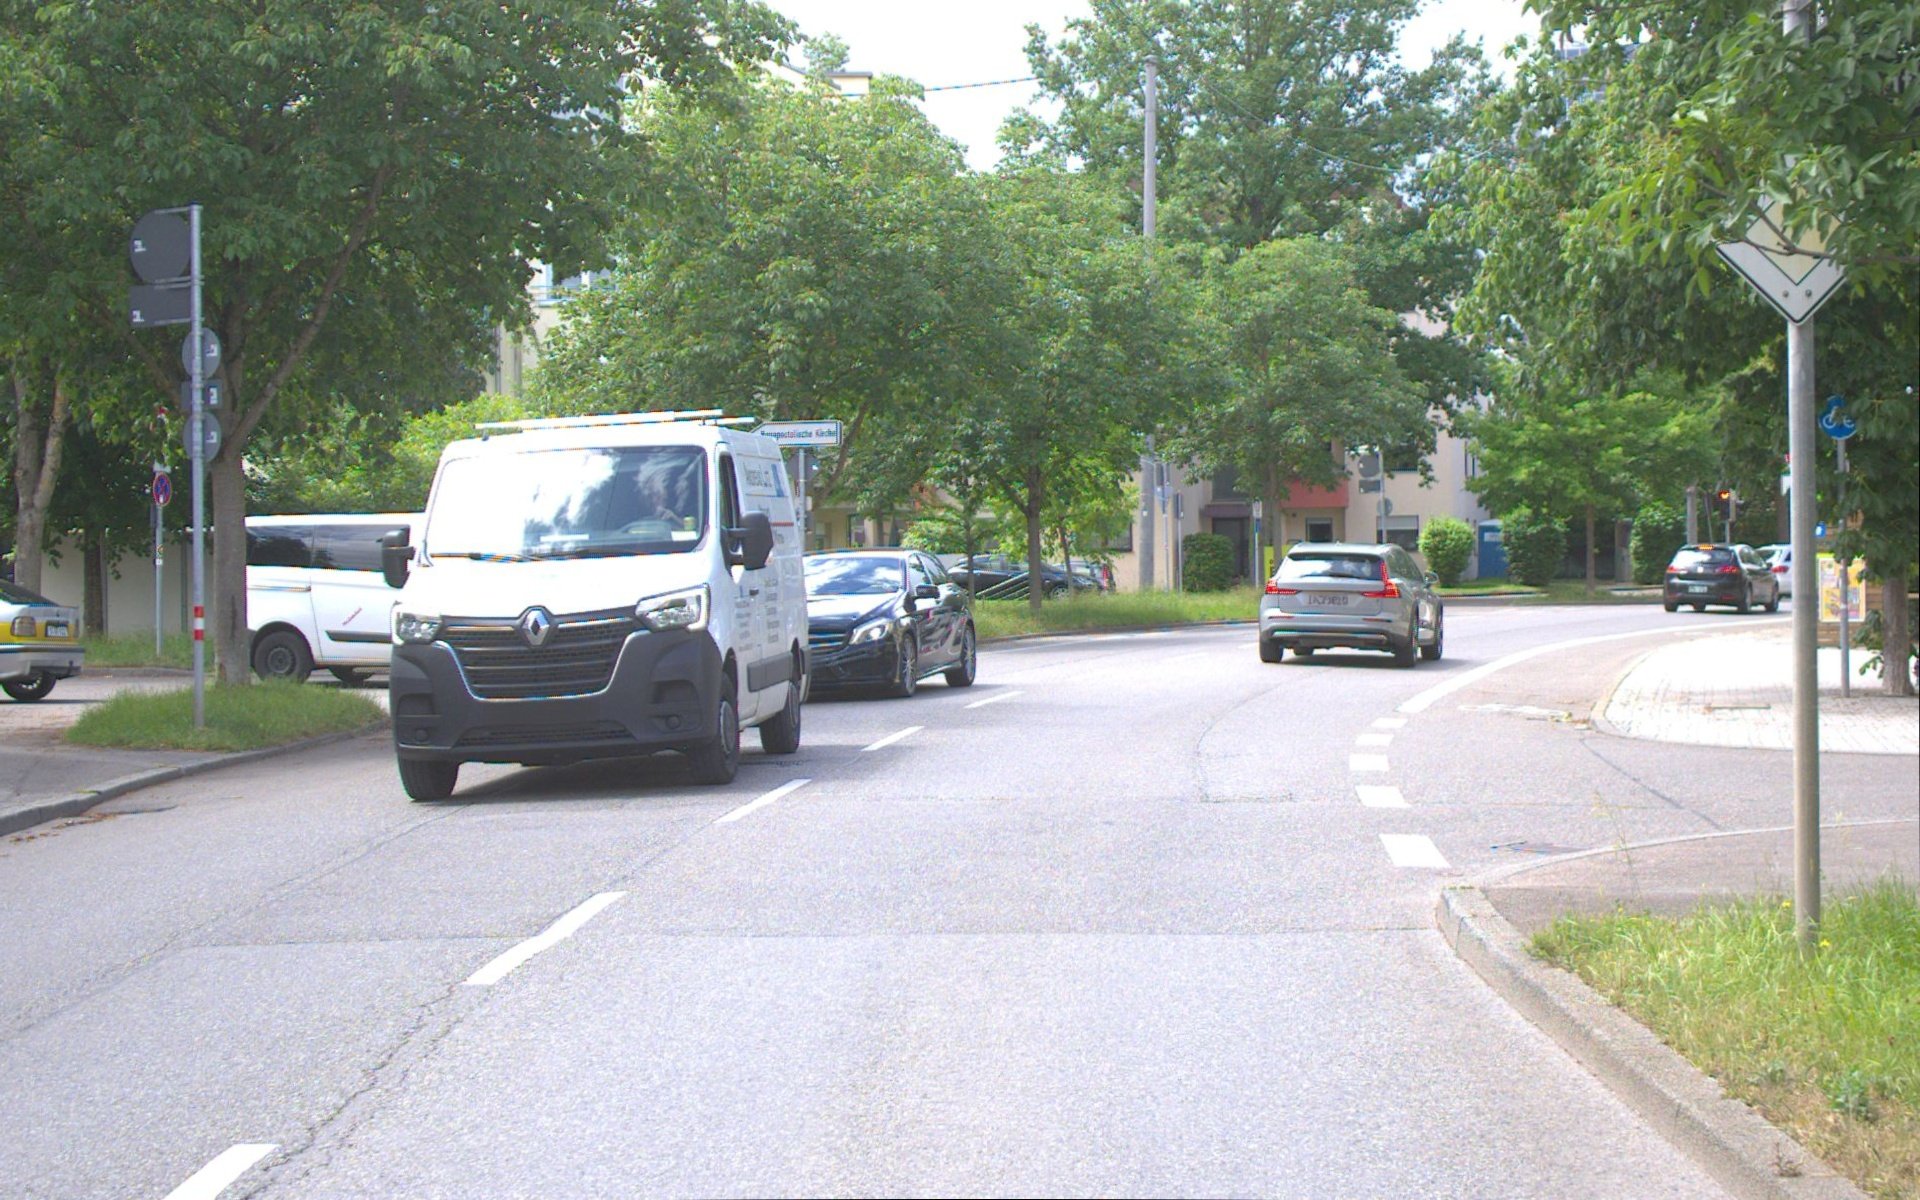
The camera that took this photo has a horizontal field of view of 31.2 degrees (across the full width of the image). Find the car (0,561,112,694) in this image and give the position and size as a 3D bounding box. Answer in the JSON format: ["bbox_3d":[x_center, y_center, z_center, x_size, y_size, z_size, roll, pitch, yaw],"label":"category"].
[{"bbox_3d":[-11.549,0.307,37.604,4.018,1.408,1.815,0,0,11],"label":"car"}]

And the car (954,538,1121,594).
[{"bbox_3d":[2.062,-0.891,91.030,4.080,1.395,1.793,0,-3,15],"label":"car"}]

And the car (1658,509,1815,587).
[{"bbox_3d":[16.177,-1.111,71.493,1.808,1.518,4.321,3,3,32],"label":"car"}]

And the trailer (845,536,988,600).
[{"bbox_3d":[-1.271,-0.937,101.165,3.908,1.793,1.629,0,-3,13],"label":"trailer"}]

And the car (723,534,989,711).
[{"bbox_3d":[-0.924,0.169,33.139,1.687,1.477,4.225,-4,0,9],"label":"car"}]

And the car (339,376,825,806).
[{"bbox_3d":[-2.276,-0.124,22.330,2.063,2.345,5.182,-4,1,5],"label":"car"}]

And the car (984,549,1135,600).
[{"bbox_3d":[2.903,-0.738,99.997,4.080,1.395,1.793,0,-3,15],"label":"car"}]

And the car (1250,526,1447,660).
[{"bbox_3d":[4.858,-0.132,42.487,1.957,1.518,4.327,1,2,13],"label":"car"}]

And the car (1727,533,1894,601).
[{"bbox_3d":[22.079,-0.847,89.181,4.315,1.611,1.810,1,1,-36],"label":"car"}]

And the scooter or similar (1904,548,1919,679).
[{"bbox_3d":[9.913,0.132,35.259,0.381,1.312,1.458,0,0,12],"label":"scooter or similar"}]

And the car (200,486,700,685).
[{"bbox_3d":[-5.868,-0.175,39.683,5.216,1.986,2.107,-3,1,18],"label":"car"}]
